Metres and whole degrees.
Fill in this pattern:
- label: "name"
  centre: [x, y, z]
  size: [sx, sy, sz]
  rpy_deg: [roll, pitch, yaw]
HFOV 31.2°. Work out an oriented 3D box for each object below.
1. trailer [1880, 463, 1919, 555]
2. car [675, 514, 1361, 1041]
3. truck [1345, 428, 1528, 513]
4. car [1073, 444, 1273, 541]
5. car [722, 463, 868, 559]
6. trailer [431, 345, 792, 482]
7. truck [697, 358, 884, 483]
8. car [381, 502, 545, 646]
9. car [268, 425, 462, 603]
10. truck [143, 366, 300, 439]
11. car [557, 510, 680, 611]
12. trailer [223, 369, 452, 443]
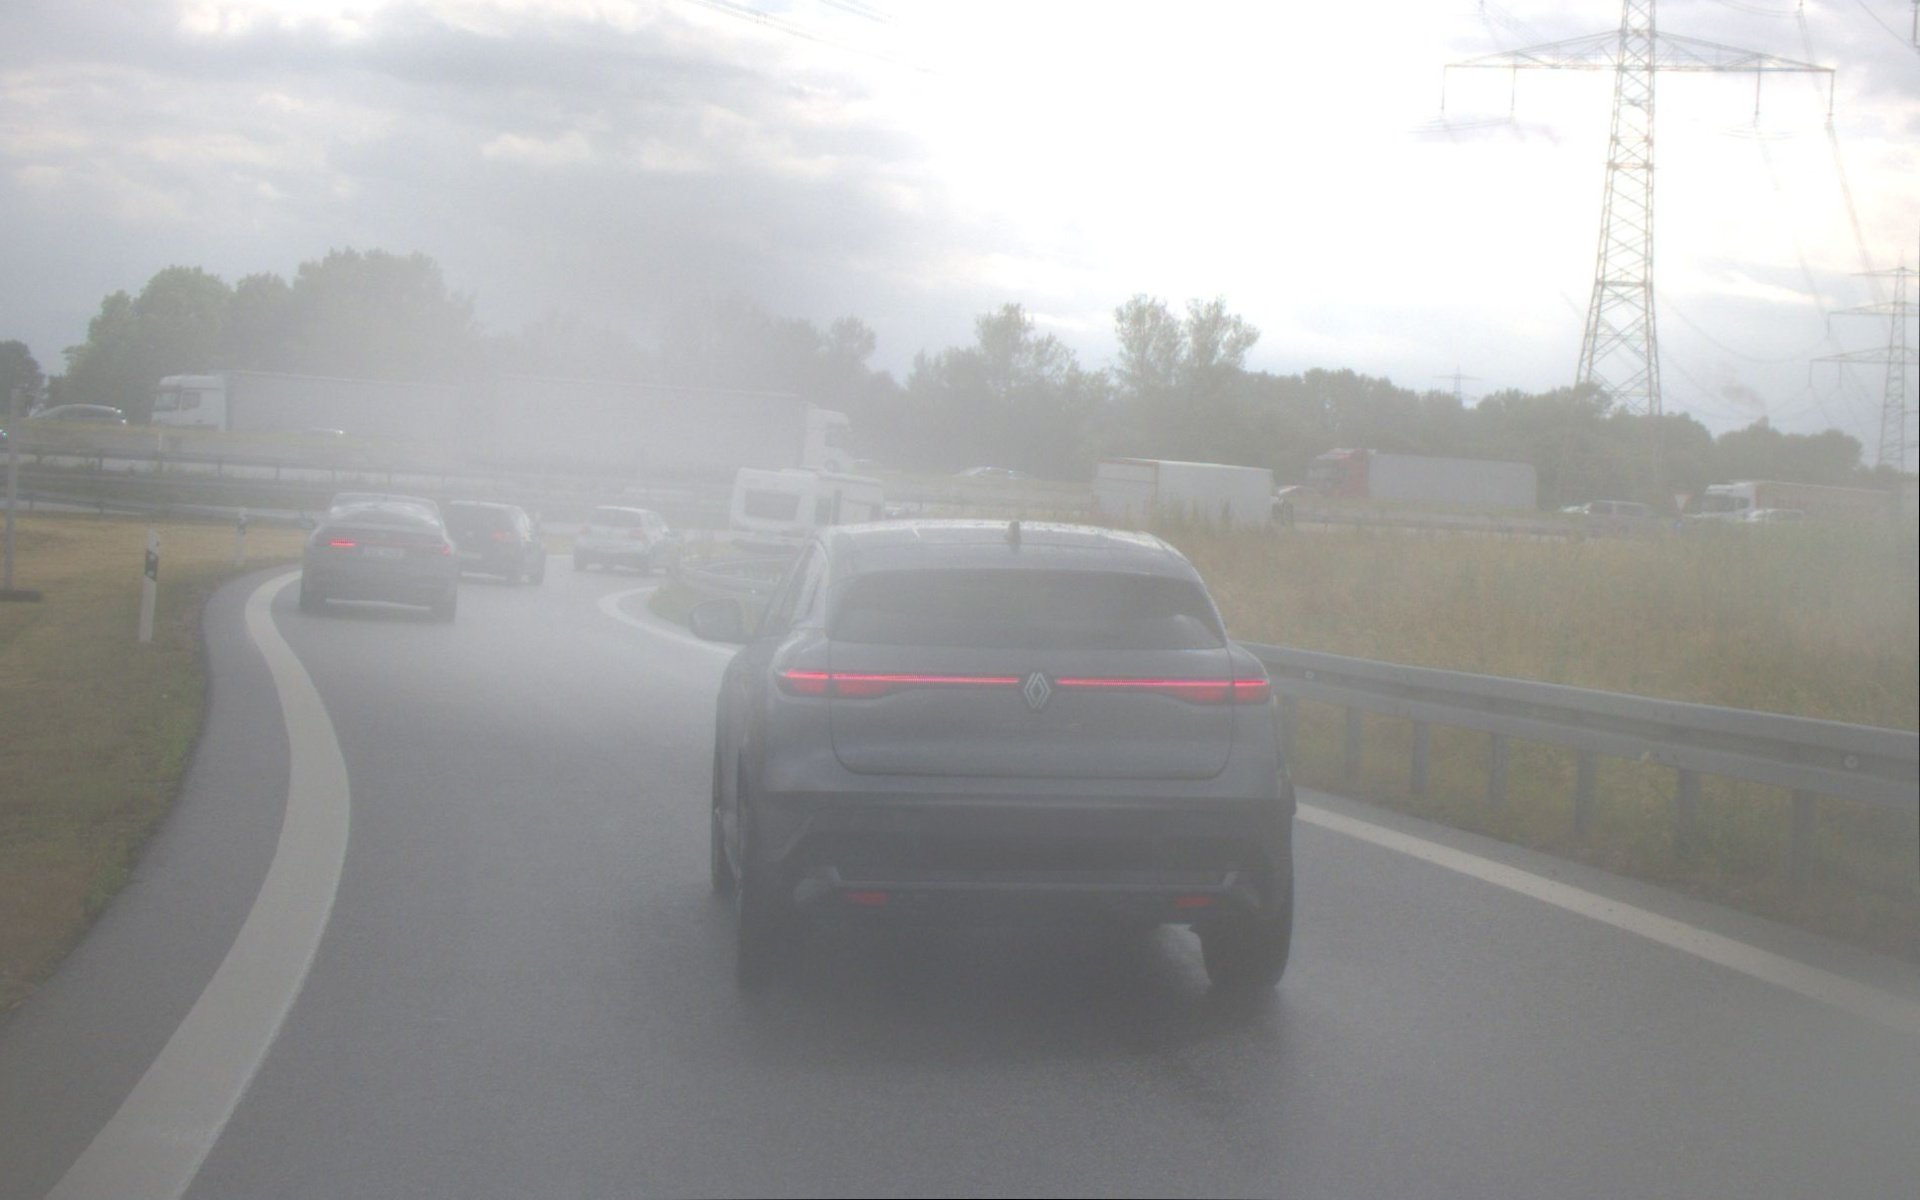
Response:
- label: "trailer"
  centre: [54.054, -4.704, 180.913]
  size: [13.261, 4.619, 3.058]
  rpy_deg: [0, 4, -36]
- label: "car"
  centre: [0.013, 0.498, 12.560]
  size: [1.993, 1.561, 4.150]
  rpy_deg: [1, 2, -6]
- label: "truck"
  centre: [27.286, -7.351, 196.255]
  size: [12.459, 4.109, 2.000]
  rpy_deg: [2, 2, -38]
- label: "car"
  centre: [7.067, -3.549, 113.124]
  size: [3.142, 2.941, 7.195]
  rpy_deg: [5, 4, 35]
- label: "car"
  centre: [-4.333, -2.405, 91.361]
  size: [2.353, 2.299, 5.125]
  rpy_deg: [3, 4, 15]
- label: "trailer"
  centre: [-12.877, -6.915, 128.355]
  size: [13.351, 4.600, 3.484]
  rpy_deg: [0, 4, -37]
- label: "truck"
  centre: [-6.542, -6.944, 132.998]
  size: [6.249, 4.549, 3.351]
  rpy_deg: [0, 4, -36]
- label: "car"
  centre: [-9.135, -0.526, 63.656]
  size: [2.351, 2.299, 5.130]
  rpy_deg: [2, 3, -2]
- label: "car"
  centre: [-7.487, -1.122, 43.719]
  size: [2.120, 2.011, 5.536]
  rpy_deg: [3, 2, -8]
- label: "truck"
  centre: [-33.077, -8.839, 154.115]
  size: [6.449, 3.016, 2.320]
  rpy_deg: [0, 4, -39]
- label: "car"
  centre: [-7.652, -0.914, 77.437]
  size: [1.994, 2.006, 4.000]
  rpy_deg: [3, 3, 5]
- label: "trailer"
  centre: [-28.486, -8.870, 157.815]
  size: [10.454, 3.016, 2.320]
  rpy_deg: [0, 4, -39]
